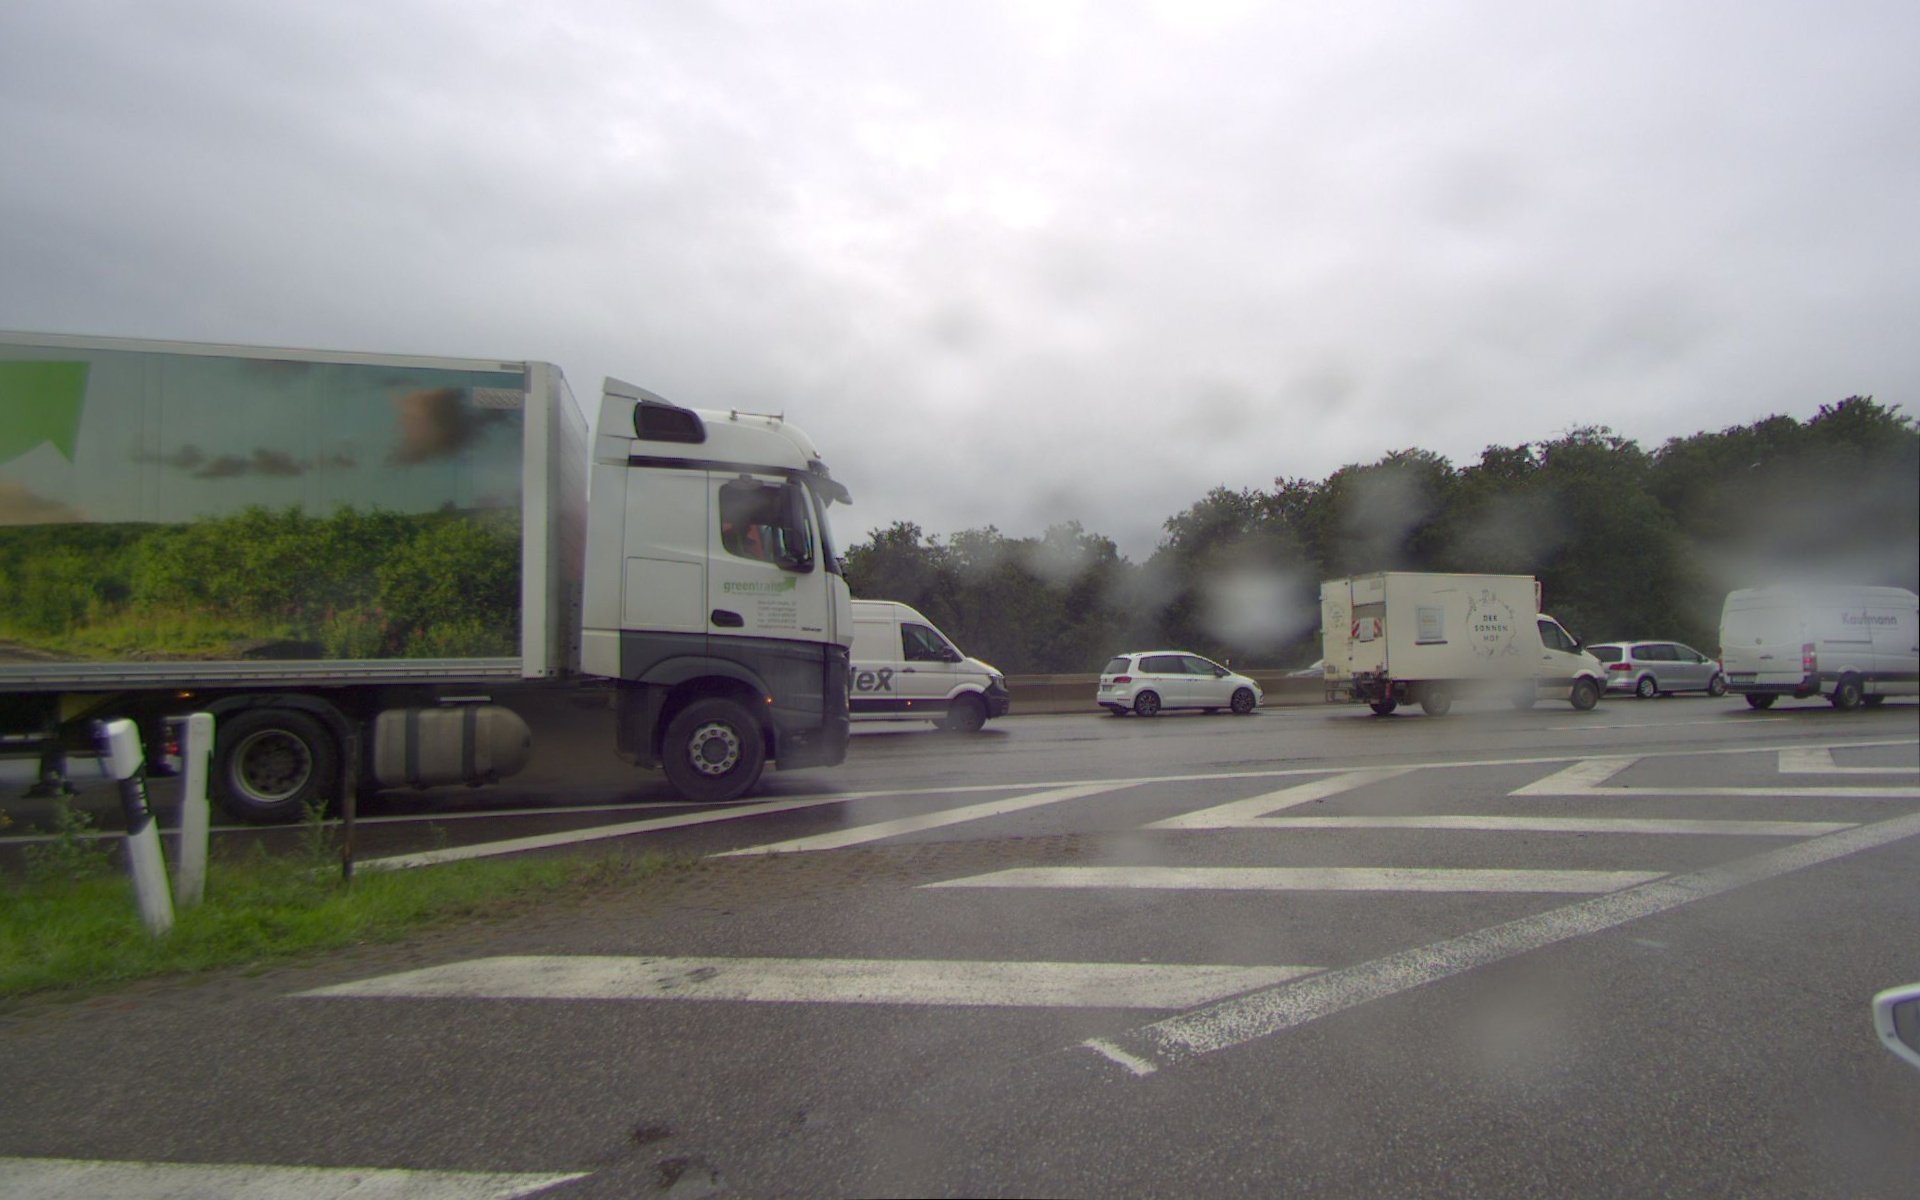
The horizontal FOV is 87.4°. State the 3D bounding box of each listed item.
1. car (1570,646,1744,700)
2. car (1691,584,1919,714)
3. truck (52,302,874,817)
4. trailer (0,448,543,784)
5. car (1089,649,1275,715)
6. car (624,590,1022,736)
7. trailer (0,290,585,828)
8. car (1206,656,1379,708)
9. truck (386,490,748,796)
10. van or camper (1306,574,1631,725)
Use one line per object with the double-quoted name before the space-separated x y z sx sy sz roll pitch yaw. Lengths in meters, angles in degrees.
"car" 21.162 2.189 30.528 4.554 1.542 1.867 0 -3 -16
"car" 19.635 1.077 22.473 5.748 2.664 2.216 0 -3 -16
"truck" -4.390 -0.225 10.360 6.606 4.152 2.920 1 -3 -15
"trailer" -12.680 0.249 12.636 13.453 3.914 2.627 0 -3 -17
"car" 5.614 2.038 25.495 4.341 1.542 1.616 0 -3 -16
"car" -2.586 1.176 19.381 7.244 2.520 2.149 0 -3 -16
"trailer" -10.557 -0.299 8.644 13.408 4.259 2.920 1 -3 -15
"car" 9.898 2.404 29.960 4.754 1.443 1.745 0 -3 -16
"truck" -5.505 0.631 14.769 4.514 3.914 2.627 0 -3 -17
"van or camper" 12.064 1.153 23.900 7.015 3.245 2.579 0 -3 -17
